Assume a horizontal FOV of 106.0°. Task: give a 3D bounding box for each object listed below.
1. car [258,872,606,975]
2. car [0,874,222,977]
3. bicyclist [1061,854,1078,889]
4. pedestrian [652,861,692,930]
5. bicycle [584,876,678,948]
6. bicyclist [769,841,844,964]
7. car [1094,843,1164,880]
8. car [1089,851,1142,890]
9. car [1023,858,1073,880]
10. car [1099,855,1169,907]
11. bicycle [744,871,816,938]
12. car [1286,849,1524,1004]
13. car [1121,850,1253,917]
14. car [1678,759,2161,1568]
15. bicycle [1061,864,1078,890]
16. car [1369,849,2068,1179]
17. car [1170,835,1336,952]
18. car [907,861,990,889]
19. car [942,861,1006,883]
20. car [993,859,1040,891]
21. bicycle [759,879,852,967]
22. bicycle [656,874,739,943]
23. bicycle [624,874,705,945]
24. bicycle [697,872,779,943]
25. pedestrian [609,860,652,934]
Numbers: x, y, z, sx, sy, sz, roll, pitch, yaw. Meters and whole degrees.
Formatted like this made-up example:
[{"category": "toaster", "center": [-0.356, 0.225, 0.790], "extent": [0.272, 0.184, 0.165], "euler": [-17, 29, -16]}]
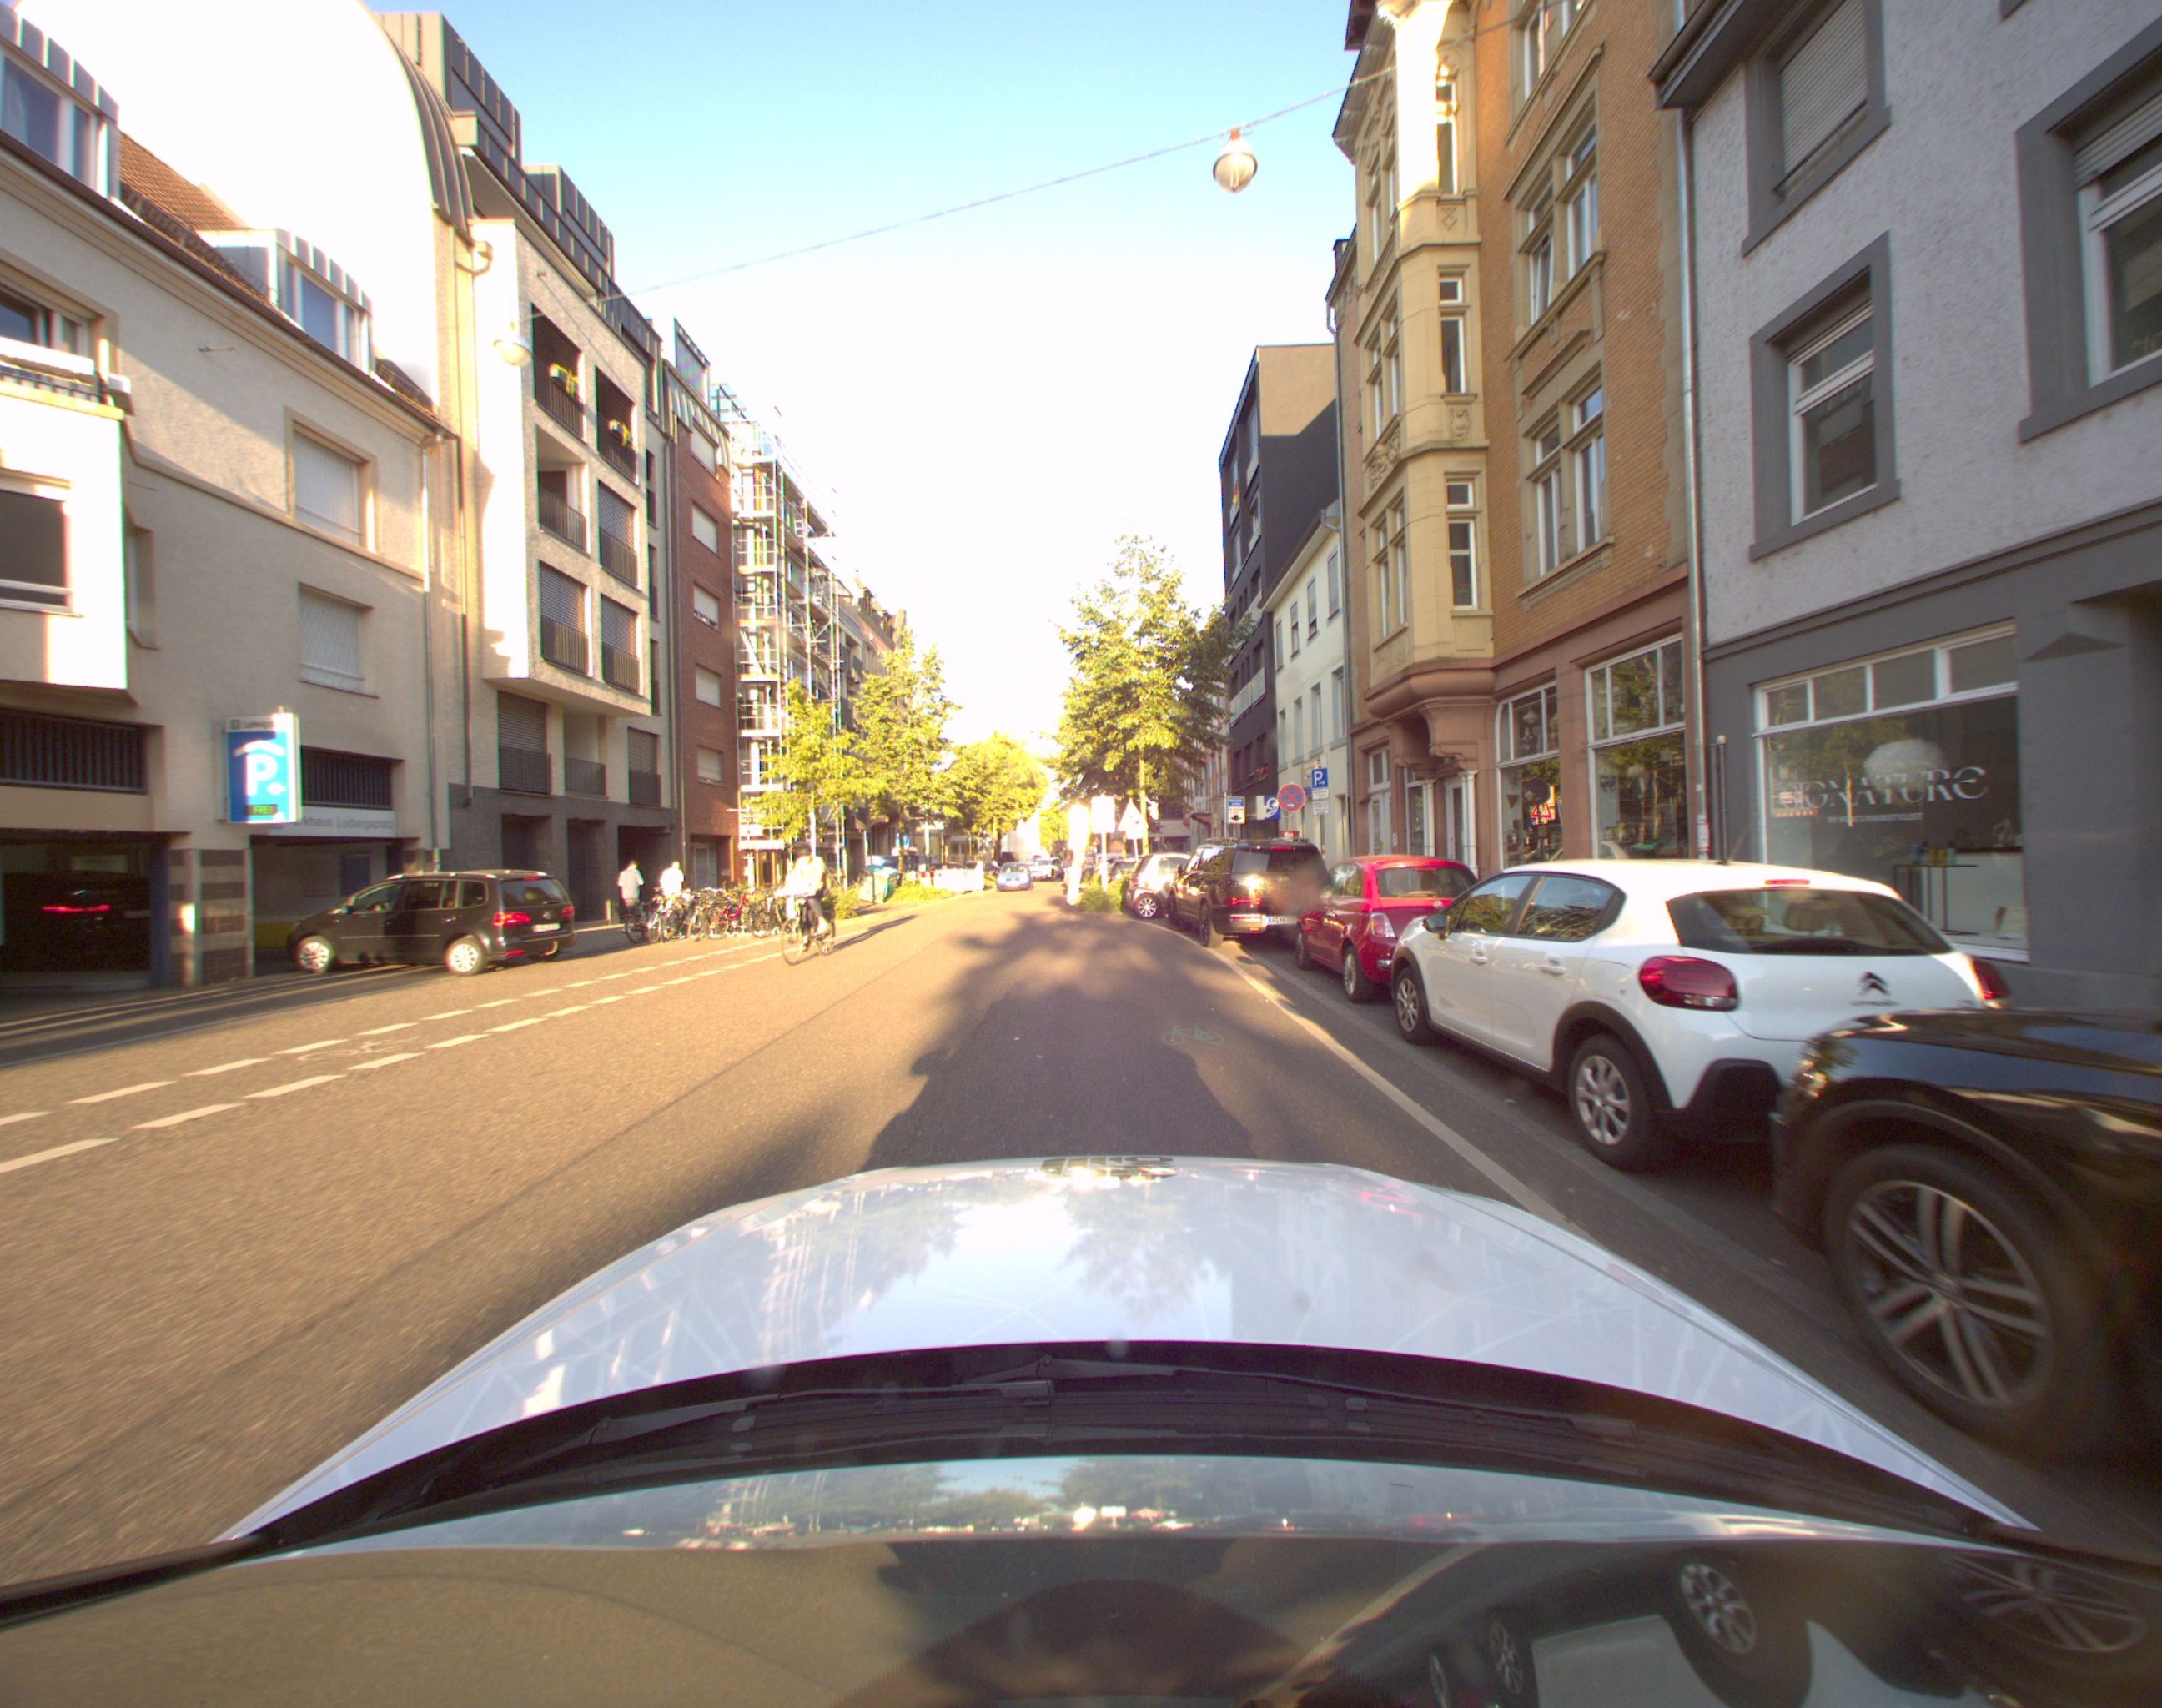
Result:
[{"category": "car", "center": [-10.969, 1.133, 13.982], "extent": [4.473, 1.601, 2.003], "euler": [-1, -1, 4]}, {"category": "car", "center": [-18.126, 1.183, 14.101], "extent": [4.476, 1.601, 2.002], "euler": [-1, -1, 3]}, {"category": "bicyclist", "center": [-0.586, 0.876, 40.405], "extent": [0.778, 1.696, 1.006], "euler": [-3, -1, -2]}, {"category": "pedestrian", "center": [-10.505, 1.045, 20.939], "extent": [0.716, 1.740, 0.736], "euler": [0, -1, -8]}, {"category": "bicycle", "center": [-9.886, 1.223, 18.063], "extent": [0.720, 1.395, 3.144], "euler": [0, -1, -8]}, {"category": "bicyclist", "center": [-4.306, 0.738, 12.843], "extent": [0.778, 1.829, 1.006], "euler": [-3, -1, -2]}, {"category": "car", "center": [2.850, 0.411, 47.919], "extent": [3.968, 2.013, 2.003], "euler": [-2, 0, 4]}, {"category": "car", "center": [1.692, 0.821, 41.840], "extent": [2.260, 1.766, 4.505], "euler": [4, -1, -3]}, {"category": "car", "center": [-2.228, 1.028, 56.658], "extent": [1.868, 1.480, 4.481], "euler": [-1, -1, 20]}, {"category": "car", "center": [1.767, 0.906, 28.639], "extent": [1.989, 1.668, 4.505], "euler": [0, -1, -2]}, {"category": "bicycle", "center": [-6.791, 1.085, 18.568], "extent": [0.844, 1.351, 3.178], "euler": [-2, 0, -8]}, {"category": "car", "center": [3.536, 0.712, 9.490], "extent": [1.581, 1.483, 3.268], "euler": [-1, -1, 2]}, {"category": "car", "center": [2.530, 0.704, 19.849], "extent": [2.962, 1.536, 1.431], "euler": [0, -1, -4]}, {"category": "car", "center": [3.110, 0.625, 0.947], "extent": [1.805, 1.668, 4.206], "euler": [0, -1, 1]}, {"category": "bicycle", "center": [-0.589, 1.109, 40.391], "extent": [0.778, 1.204, 2.019], "euler": [-3, -1, -2]}, {"category": "car", "center": [3.359, 0.693, 5.343], "extent": [1.660, 1.378, 3.803], "euler": [0, -1, 1]}, {"category": "car", "center": [2.786, 0.601, 14.213], "extent": [1.820, 1.695, 4.364], "euler": [0, -1, -2]}, {"category": "car", "center": [-7.108, 1.114, 43.970], "extent": [4.087, 1.466, 1.890], "euler": [0, -1, 2]}, {"category": "car", "center": [-7.311, 1.236, 55.977], "extent": [4.087, 1.466, 1.890], "euler": [0, -1, 2]}, {"category": "car", "center": [-3.161, 1.010, 40.891], "extent": [1.831, 1.441, 4.333], "euler": [-2, 0, 1]}, {"category": "bicycle", "center": [-4.281, 1.030, 12.821], "extent": [0.778, 1.204, 2.019], "euler": [-3, -1, -2]}, {"category": "bicycle", "center": [-8.526, 1.156, 18.292], "extent": [0.780, 1.373, 3.133], "euler": [0, -1, -8]}, {"category": "bicycle", "center": [-9.218, 1.177, 18.171], "extent": [0.584, 1.395, 3.152], "euler": [0, -1, -8]}, {"category": "bicycle", "center": [-7.678, 1.134, 18.431], "extent": [0.892, 1.395, 3.157], "euler": [-1, -1, -8]}, {"category": "pedestrian", "center": [-11.098, 1.047, 20.091], "extent": [0.716, 1.767, 0.692], "euler": [0, -1, -8]}]
